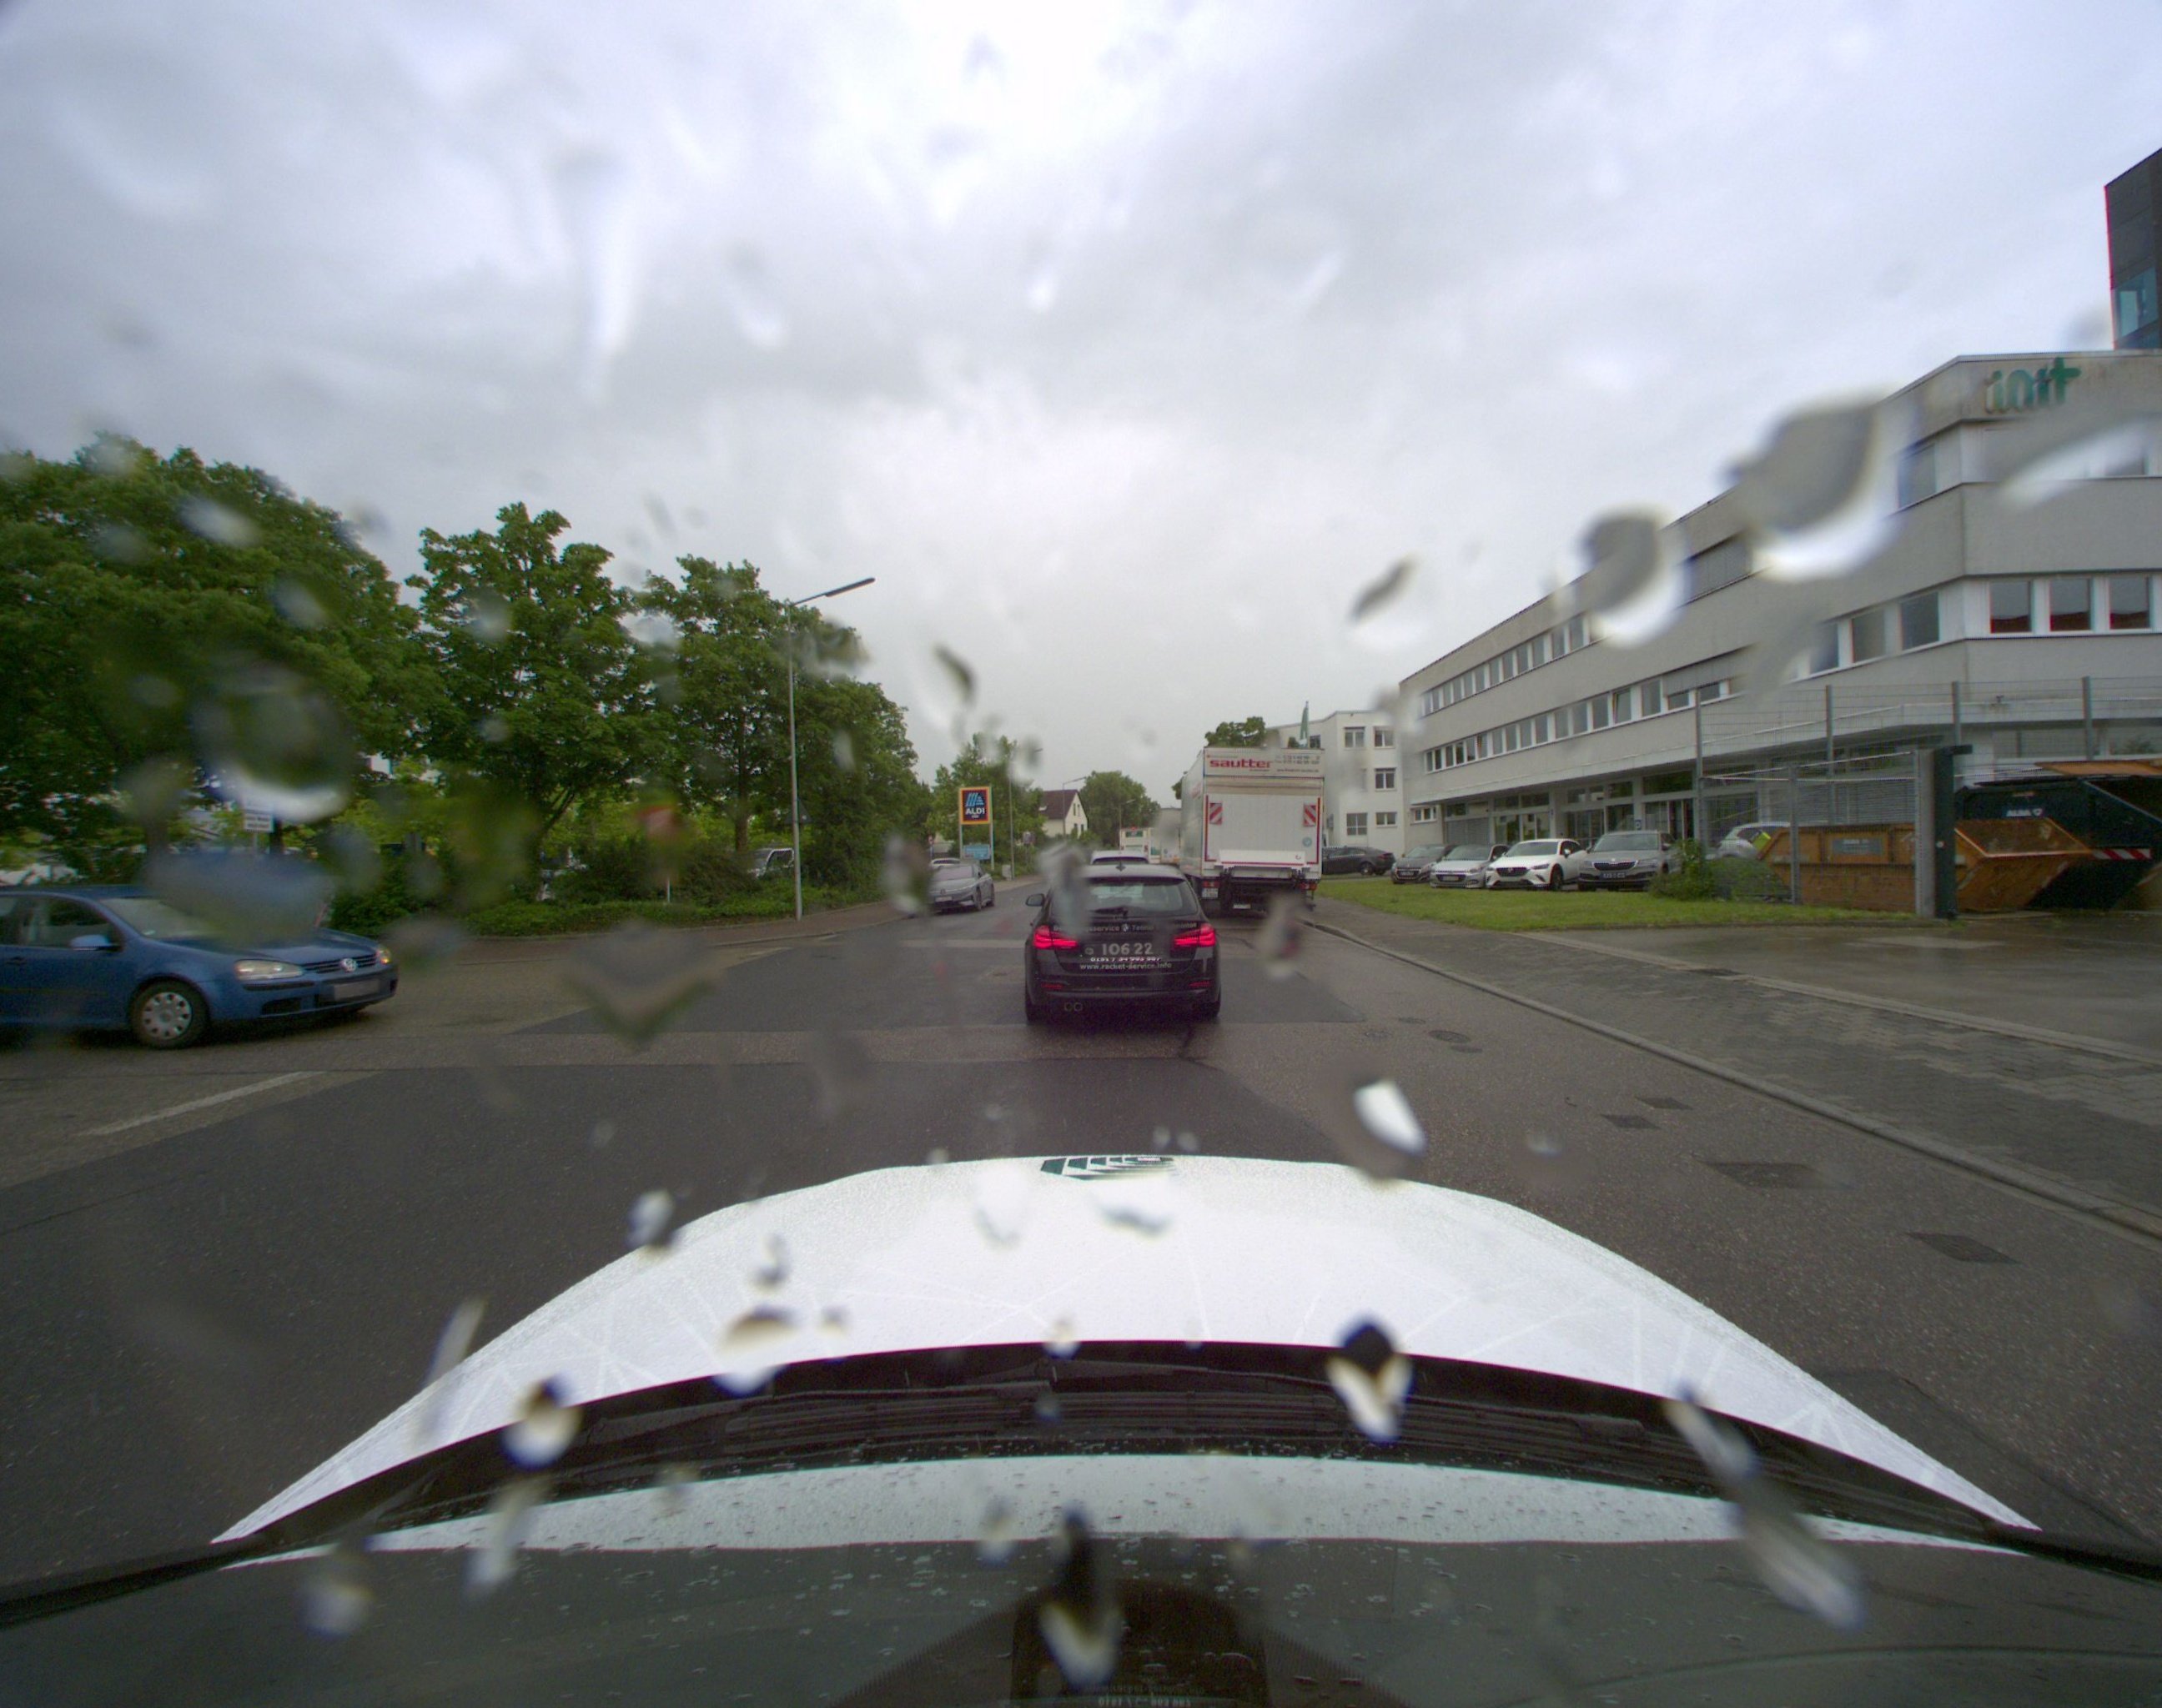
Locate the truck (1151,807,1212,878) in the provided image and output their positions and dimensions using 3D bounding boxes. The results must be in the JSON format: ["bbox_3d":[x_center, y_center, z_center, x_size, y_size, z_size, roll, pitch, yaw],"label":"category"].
[{"bbox_3d":[5.429,-0.586,45.176,2.730,3.611,7.755,1,0,3],"label":"truck"}]

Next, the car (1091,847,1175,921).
[{"bbox_3d":[1.175,0.667,19.814,1.798,1.586,4.000,-1,-1,1],"label":"car"}]

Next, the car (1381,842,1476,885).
[{"bbox_3d":[12.561,0.327,29.328,3.789,1.393,1.686,-2,0,-42],"label":"car"}]

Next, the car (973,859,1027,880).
[{"bbox_3d":[-5.686,1.062,57.414,3.553,1.460,1.714,0,0,4],"label":"car"}]

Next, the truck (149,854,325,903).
[{"bbox_3d":[-40.243,1.085,39.161,1.987,2.094,6.134,-2,0,1],"label":"truck"}]

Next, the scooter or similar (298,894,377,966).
[{"bbox_3d":[-13.198,1.328,14.484,0.282,1.175,1.063,-2,0,10],"label":"scooter or similar"}]

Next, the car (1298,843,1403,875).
[{"bbox_3d":[13.462,0.267,40.889,4.616,1.468,1.802,-2,0,40],"label":"car"}]

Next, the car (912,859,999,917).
[{"bbox_3d":[-3.943,1.026,26.448,1.802,1.528,4.750,-6,-1,2],"label":"car"}]

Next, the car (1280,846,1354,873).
[{"bbox_3d":[13.759,0.288,47.551,3.733,1.396,1.738,2,2,43],"label":"car"}]

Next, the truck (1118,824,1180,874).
[{"bbox_3d":[4.975,-0.478,58.012,2.322,3.256,7.790,2,2,20],"label":"truck"}]

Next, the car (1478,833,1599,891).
[{"bbox_3d":[12.948,0.195,22.962,4.022,1.470,1.754,-2,0,-42],"label":"car"}]

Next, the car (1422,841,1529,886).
[{"bbox_3d":[12.764,0.291,26.241,4.022,1.286,1.686,-2,0,-42],"label":"car"}]

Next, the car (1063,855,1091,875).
[{"bbox_3d":[-0.291,0.872,65.818,1.697,1.367,3.845,-4,0,6],"label":"car"}]

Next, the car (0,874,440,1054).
[{"bbox_3d":[-9.081,1.033,8.115,3.972,1.441,1.737,-3,0,1],"label":"car"}]

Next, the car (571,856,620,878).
[{"bbox_3d":[-45.484,1.202,76.329,1.985,2.014,4.003,-1,-1,3],"label":"car"}]

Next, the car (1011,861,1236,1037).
[{"bbox_3d":[0.378,0.783,8.589,1.798,1.395,4.000,-1,0,1],"label":"car"}]

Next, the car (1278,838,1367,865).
[{"bbox_3d":[18.994,-0.182,64.141,6.436,2.014,1.998,-1,-1,-2],"label":"car"}]

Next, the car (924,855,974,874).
[{"bbox_3d":[-11.547,0.911,71.539,3.970,1.540,1.912,-2,0,3],"label":"car"}]

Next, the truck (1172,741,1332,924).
[{"bbox_3d":[4.072,-0.455,21.594,2.730,3.789,9.306,1,0,3],"label":"truck"}]

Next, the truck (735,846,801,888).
[{"bbox_3d":[-22.327,0.900,58.511,1.986,2.753,6.470,-2,0,2],"label":"truck"}]

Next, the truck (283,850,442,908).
[{"bbox_3d":[-35.950,1.157,41.097,1.984,2.601,6.404,-2,0,4],"label":"truck"}]

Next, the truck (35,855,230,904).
[{"bbox_3d":[-44.826,1.124,38.802,1.987,2.060,6.134,-2,0,1],"label":"truck"}]

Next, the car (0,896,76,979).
[{"bbox_3d":[-20.597,1.552,14.201,3.972,1.363,1.737,-3,0,1],"label":"car"}]

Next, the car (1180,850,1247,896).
[{"bbox_3d":[4.572,0.629,28.718,1.790,1.441,4.347,-2,0,2],"label":"car"}]

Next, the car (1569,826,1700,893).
[{"bbox_3d":[14.108,0.093,20.686,4.022,1.527,1.850,-2,0,-43],"label":"car"}]

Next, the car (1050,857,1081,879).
[{"bbox_3d":[-1.078,0.996,59.415,1.698,1.367,4.607,-4,0,5],"label":"car"}]
